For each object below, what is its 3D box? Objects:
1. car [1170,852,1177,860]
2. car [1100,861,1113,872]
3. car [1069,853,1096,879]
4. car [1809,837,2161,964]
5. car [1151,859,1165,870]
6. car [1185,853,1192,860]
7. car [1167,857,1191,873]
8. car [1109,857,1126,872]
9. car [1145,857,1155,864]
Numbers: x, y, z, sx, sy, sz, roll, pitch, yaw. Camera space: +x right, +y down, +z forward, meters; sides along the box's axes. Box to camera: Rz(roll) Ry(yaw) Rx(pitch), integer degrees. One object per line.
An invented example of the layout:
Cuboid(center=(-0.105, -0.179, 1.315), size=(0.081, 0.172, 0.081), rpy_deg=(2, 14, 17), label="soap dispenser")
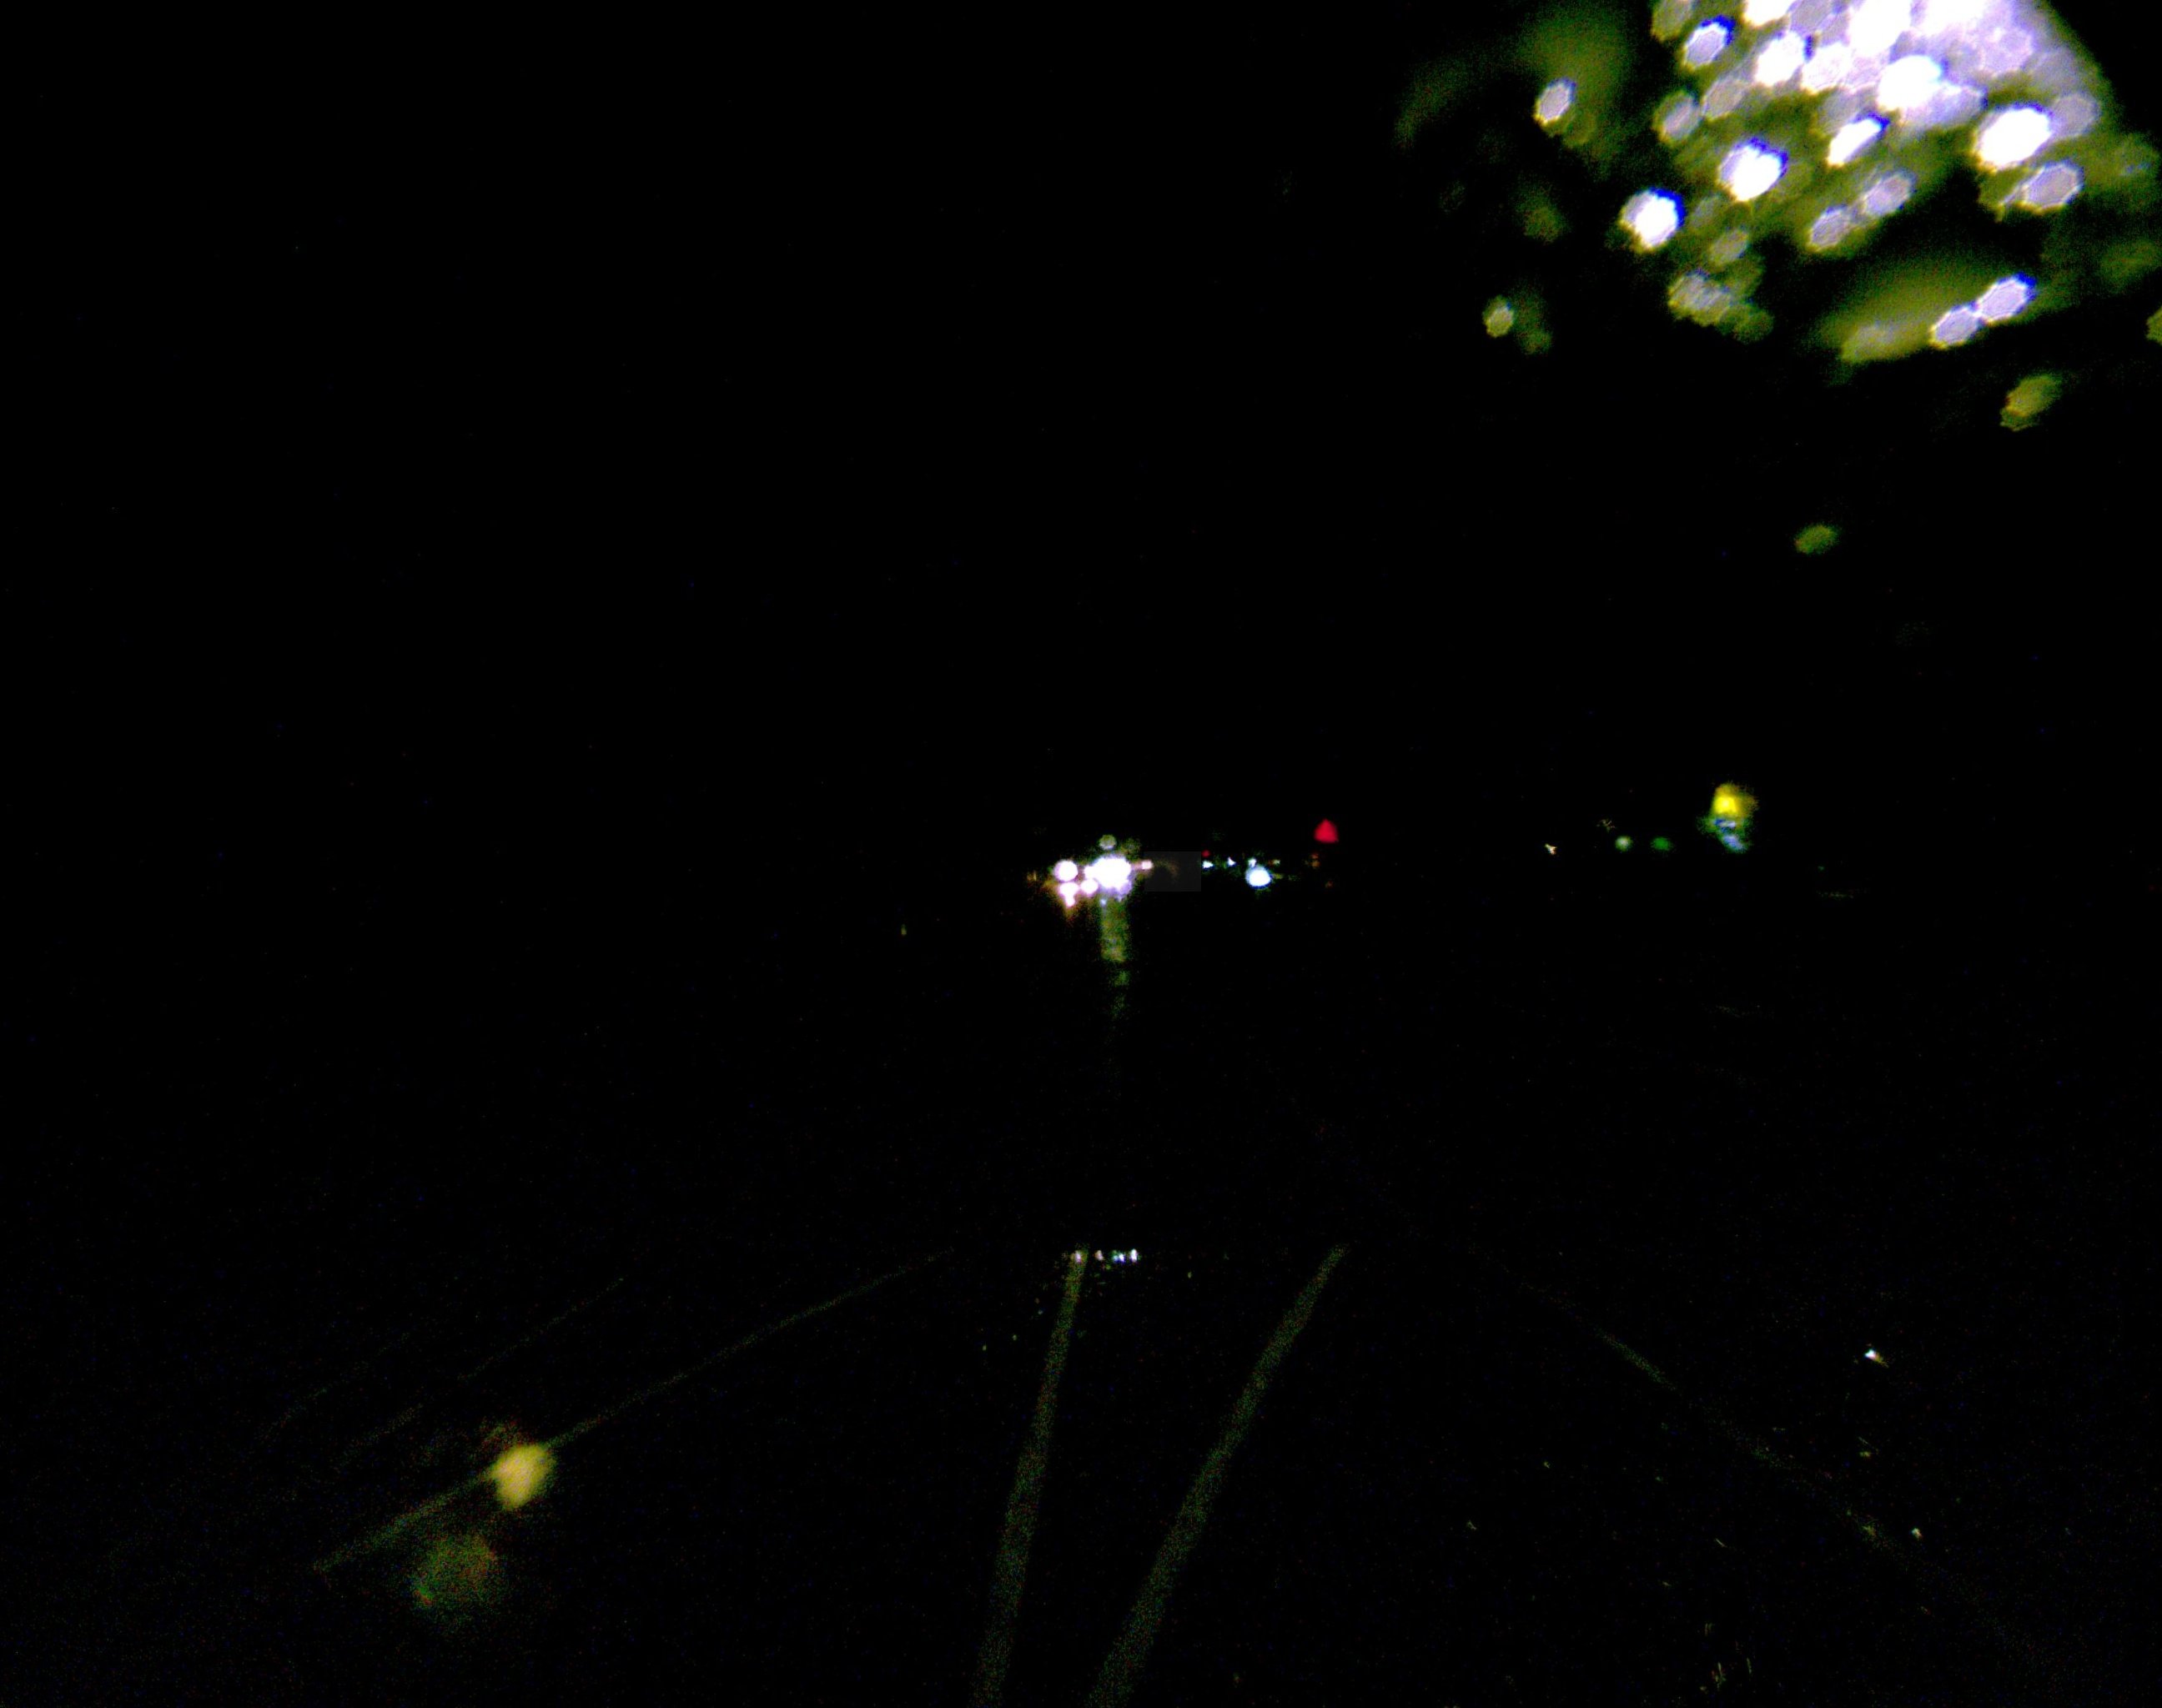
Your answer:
Cuboid(center=(25.328, 0.500, 208.062), size=(1.997, 2.002, 4.001), rpy_deg=(-1, 1, 7), label="car")
Cuboid(center=(3.868, 1.846, 115.266), size=(1.807, 1.416, 4.206), rpy_deg=(-1, 1, 5), label="car")
Cuboid(center=(0.071, 0.851, 56.445), size=(1.877, 1.824, 4.205), rpy_deg=(-1, 0, -1), label="car")
Cuboid(center=(14.845, 0.592, 12.132), size=(1.713, 1.643, 4.503), rpy_deg=(-2, 1, -10), label="car")
Cuboid(center=(11.049, 1.444, 108.916), size=(1.807, 1.416, 4.206), rpy_deg=(-1, 1, 3), label="car")
Cuboid(center=(32.934, 0.656, 233.329), size=(1.997, 2.002, 4.002), rpy_deg=(-1, 1, 9), label="car")
Cuboid(center=(11.356, 1.250, 88.640), size=(2.094, 1.691, 4.576), rpy_deg=(-2, 1, -1), label="car")
Cuboid(center=(4.396, 1.287, 91.777), size=(1.914, 1.693, 4.940), rpy_deg=(-1, 0, 2), label="car")
Cuboid(center=(14.073, 1.350, 155.313), size=(1.807, 1.416, 4.207), rpy_deg=(-1, 1, 8), label="car")
